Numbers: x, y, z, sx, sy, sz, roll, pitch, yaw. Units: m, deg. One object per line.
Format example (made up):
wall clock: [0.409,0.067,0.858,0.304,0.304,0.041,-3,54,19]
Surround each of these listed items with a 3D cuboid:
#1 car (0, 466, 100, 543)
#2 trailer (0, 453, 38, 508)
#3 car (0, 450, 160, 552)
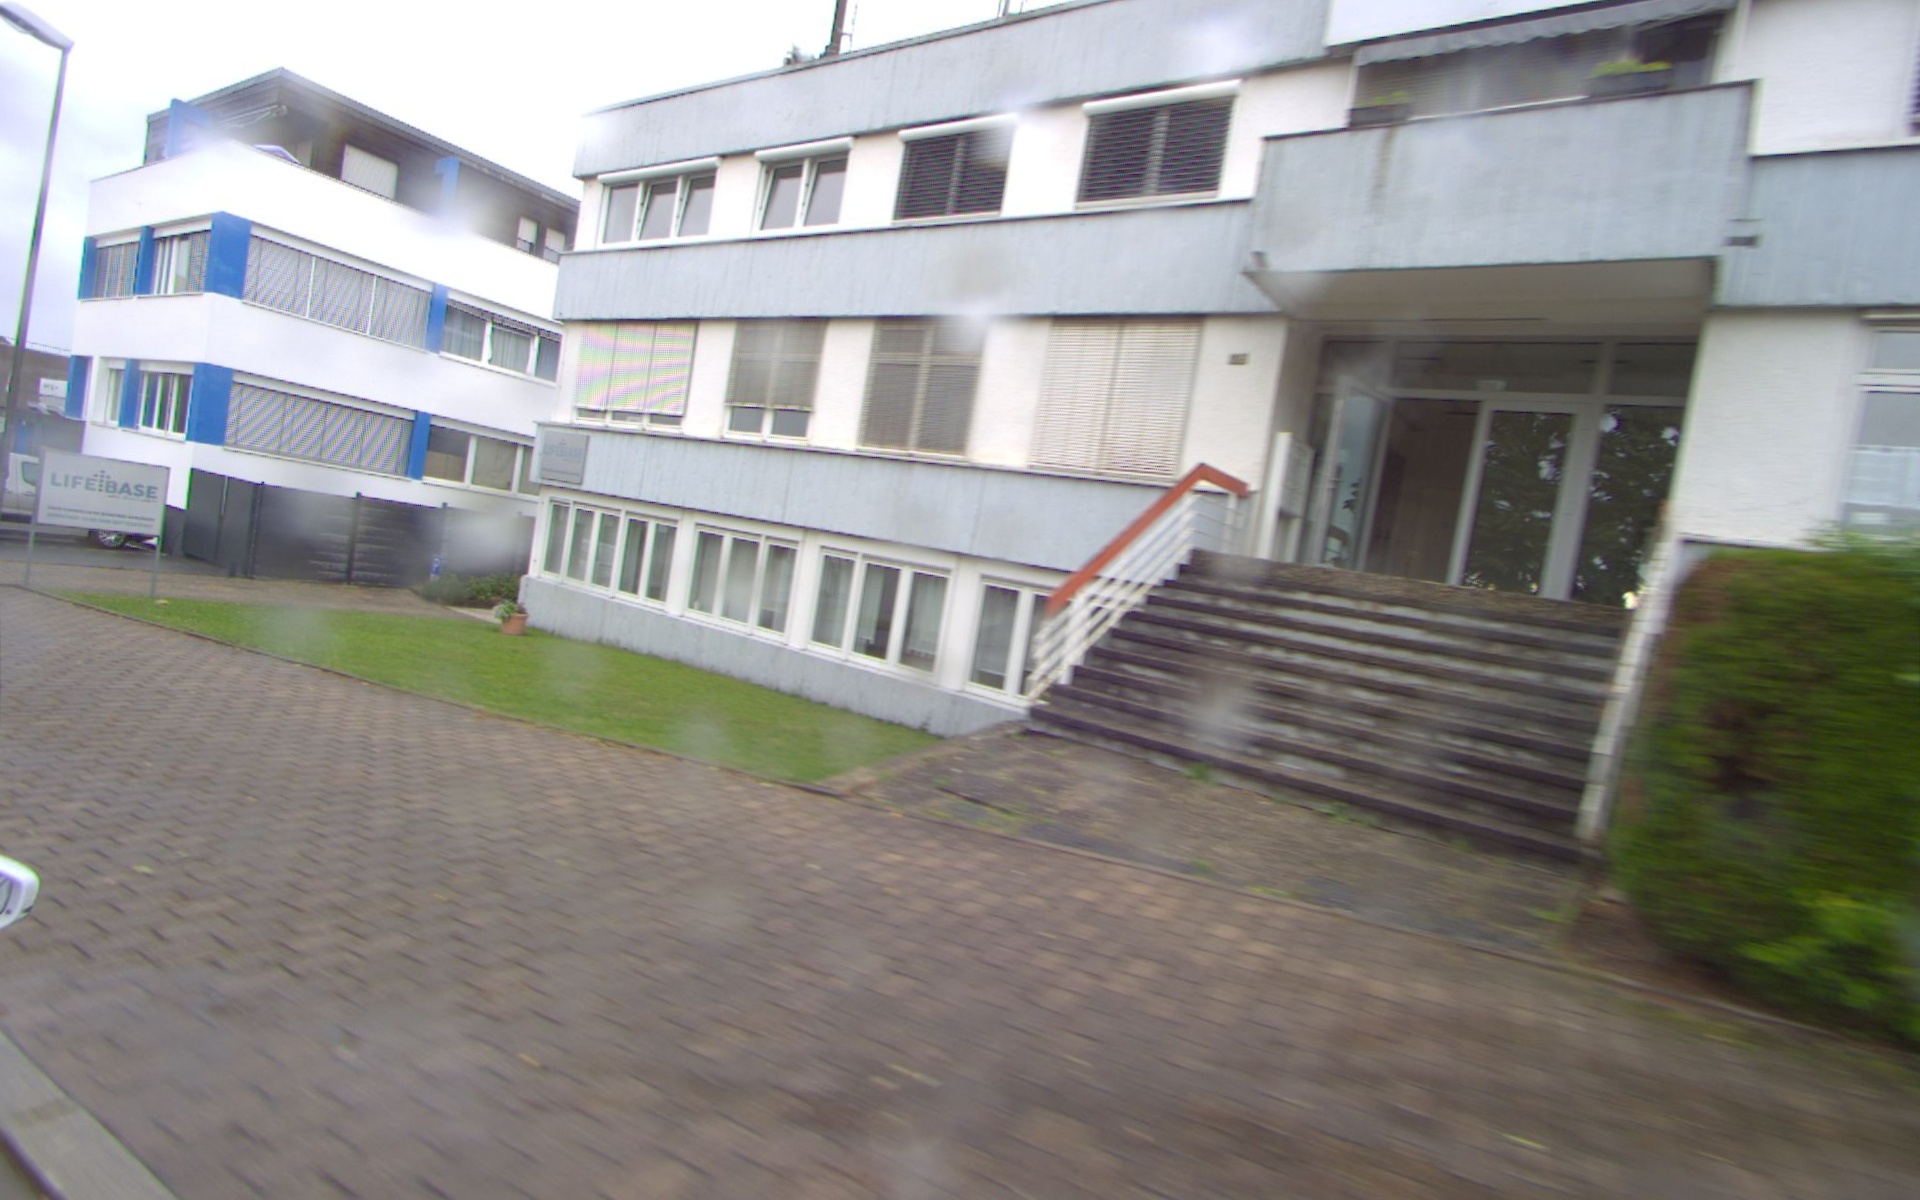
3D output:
car: [-22.474,-2.315,22.462,2.046,1.559,4.593,7,2,35]
trailer: [-47.146,-5.978,49.455,4.242,2.448,1.885,9,2,37]
car: [-19.777,-2.169,21.007,2.055,1.796,4.341,7,1,34]
